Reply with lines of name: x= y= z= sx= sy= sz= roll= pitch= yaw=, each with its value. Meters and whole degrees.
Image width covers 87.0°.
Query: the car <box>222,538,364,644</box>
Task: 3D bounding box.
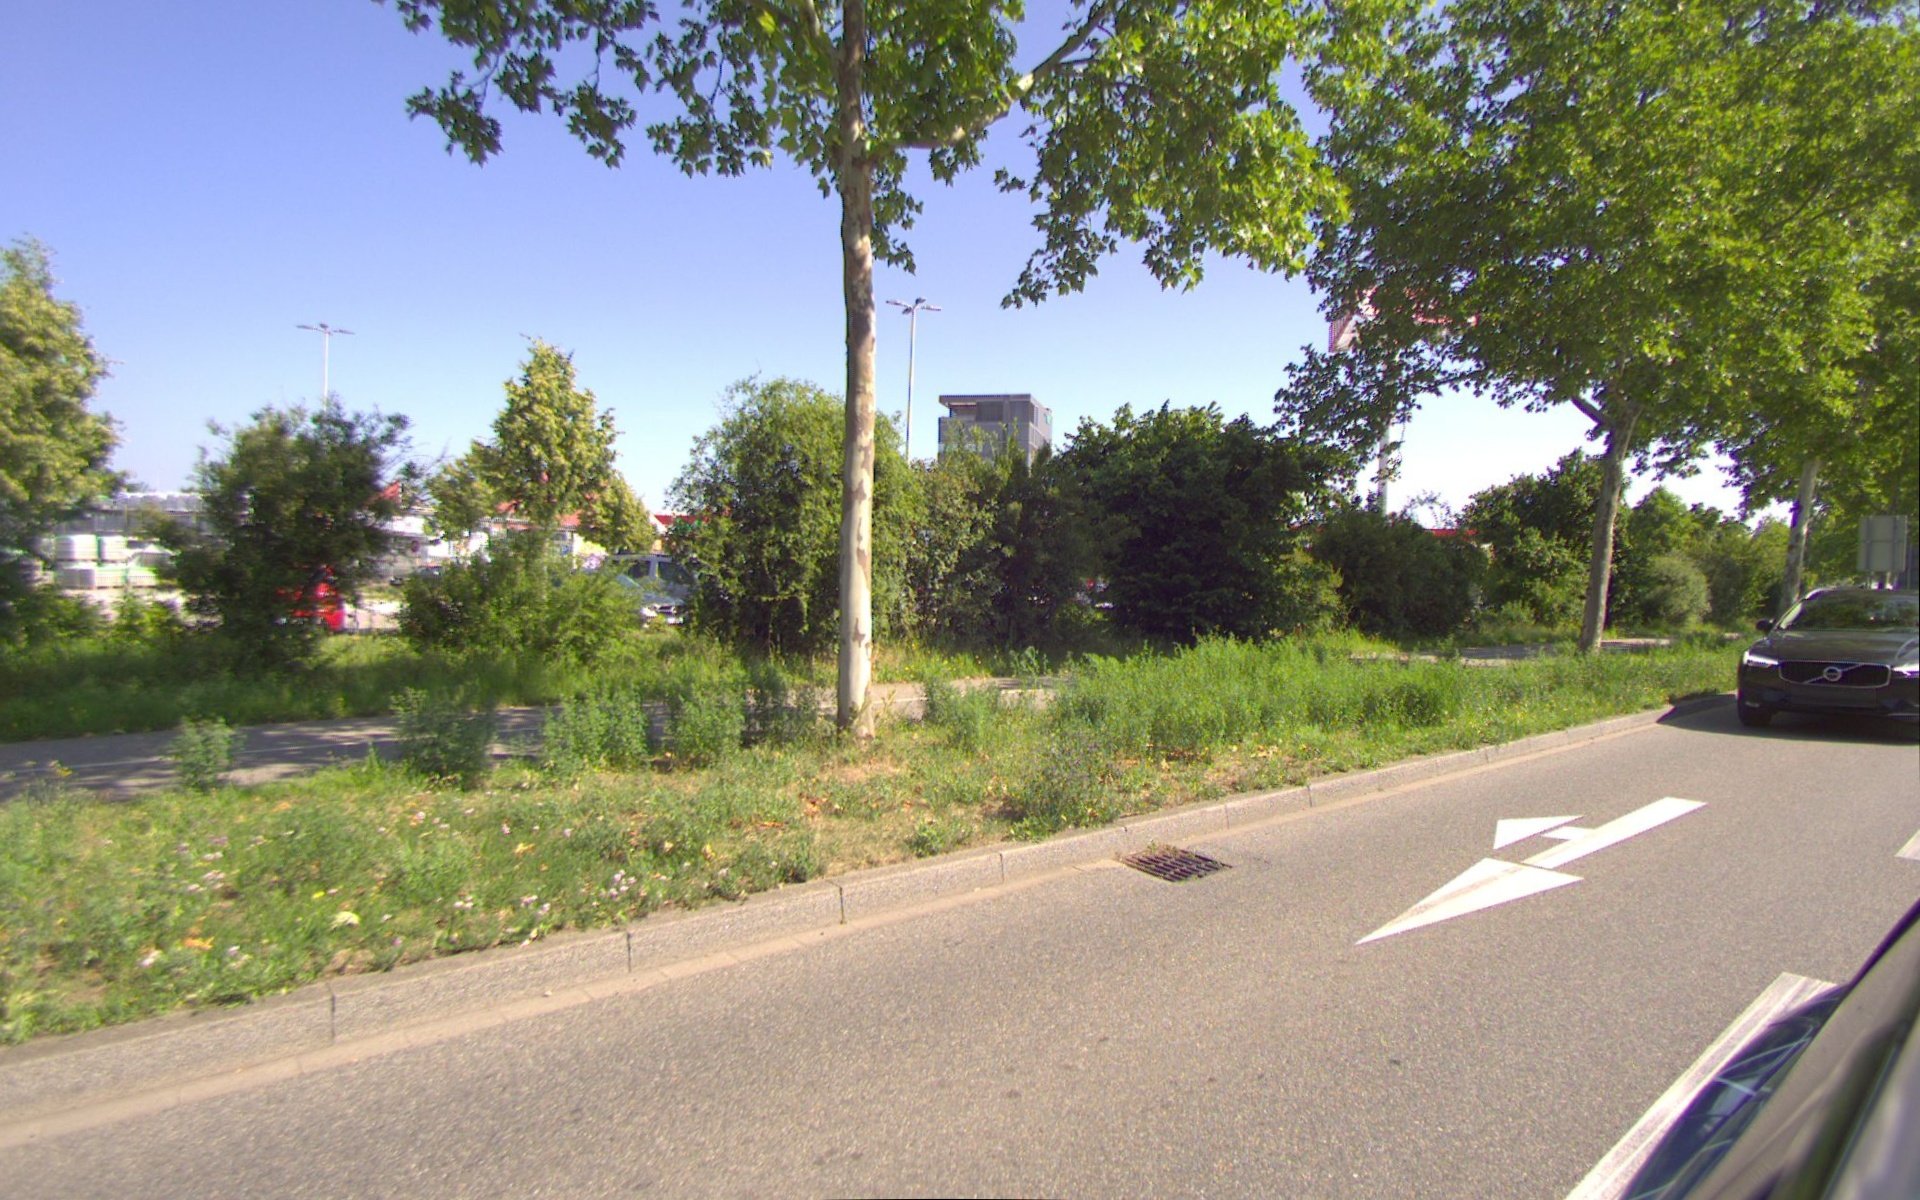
car: x=-12.000 y=-0.169 z=18.117 sx=1.658 sy=1.692 sz=3.828 roll=0 pitch=1 yaw=-41

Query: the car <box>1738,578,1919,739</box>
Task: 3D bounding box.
car: x=11.097 y=0.576 z=12.191 sx=4.486 sy=1.643 sz=1.922 roll=0 pitch=1 yaw=-41

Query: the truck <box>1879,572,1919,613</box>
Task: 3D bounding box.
truck: x=92.392 y=-0.749 z=99.274 sx=2.728 sy=3.944 sz=5.773 roll=1 pitch=1 yaw=37
